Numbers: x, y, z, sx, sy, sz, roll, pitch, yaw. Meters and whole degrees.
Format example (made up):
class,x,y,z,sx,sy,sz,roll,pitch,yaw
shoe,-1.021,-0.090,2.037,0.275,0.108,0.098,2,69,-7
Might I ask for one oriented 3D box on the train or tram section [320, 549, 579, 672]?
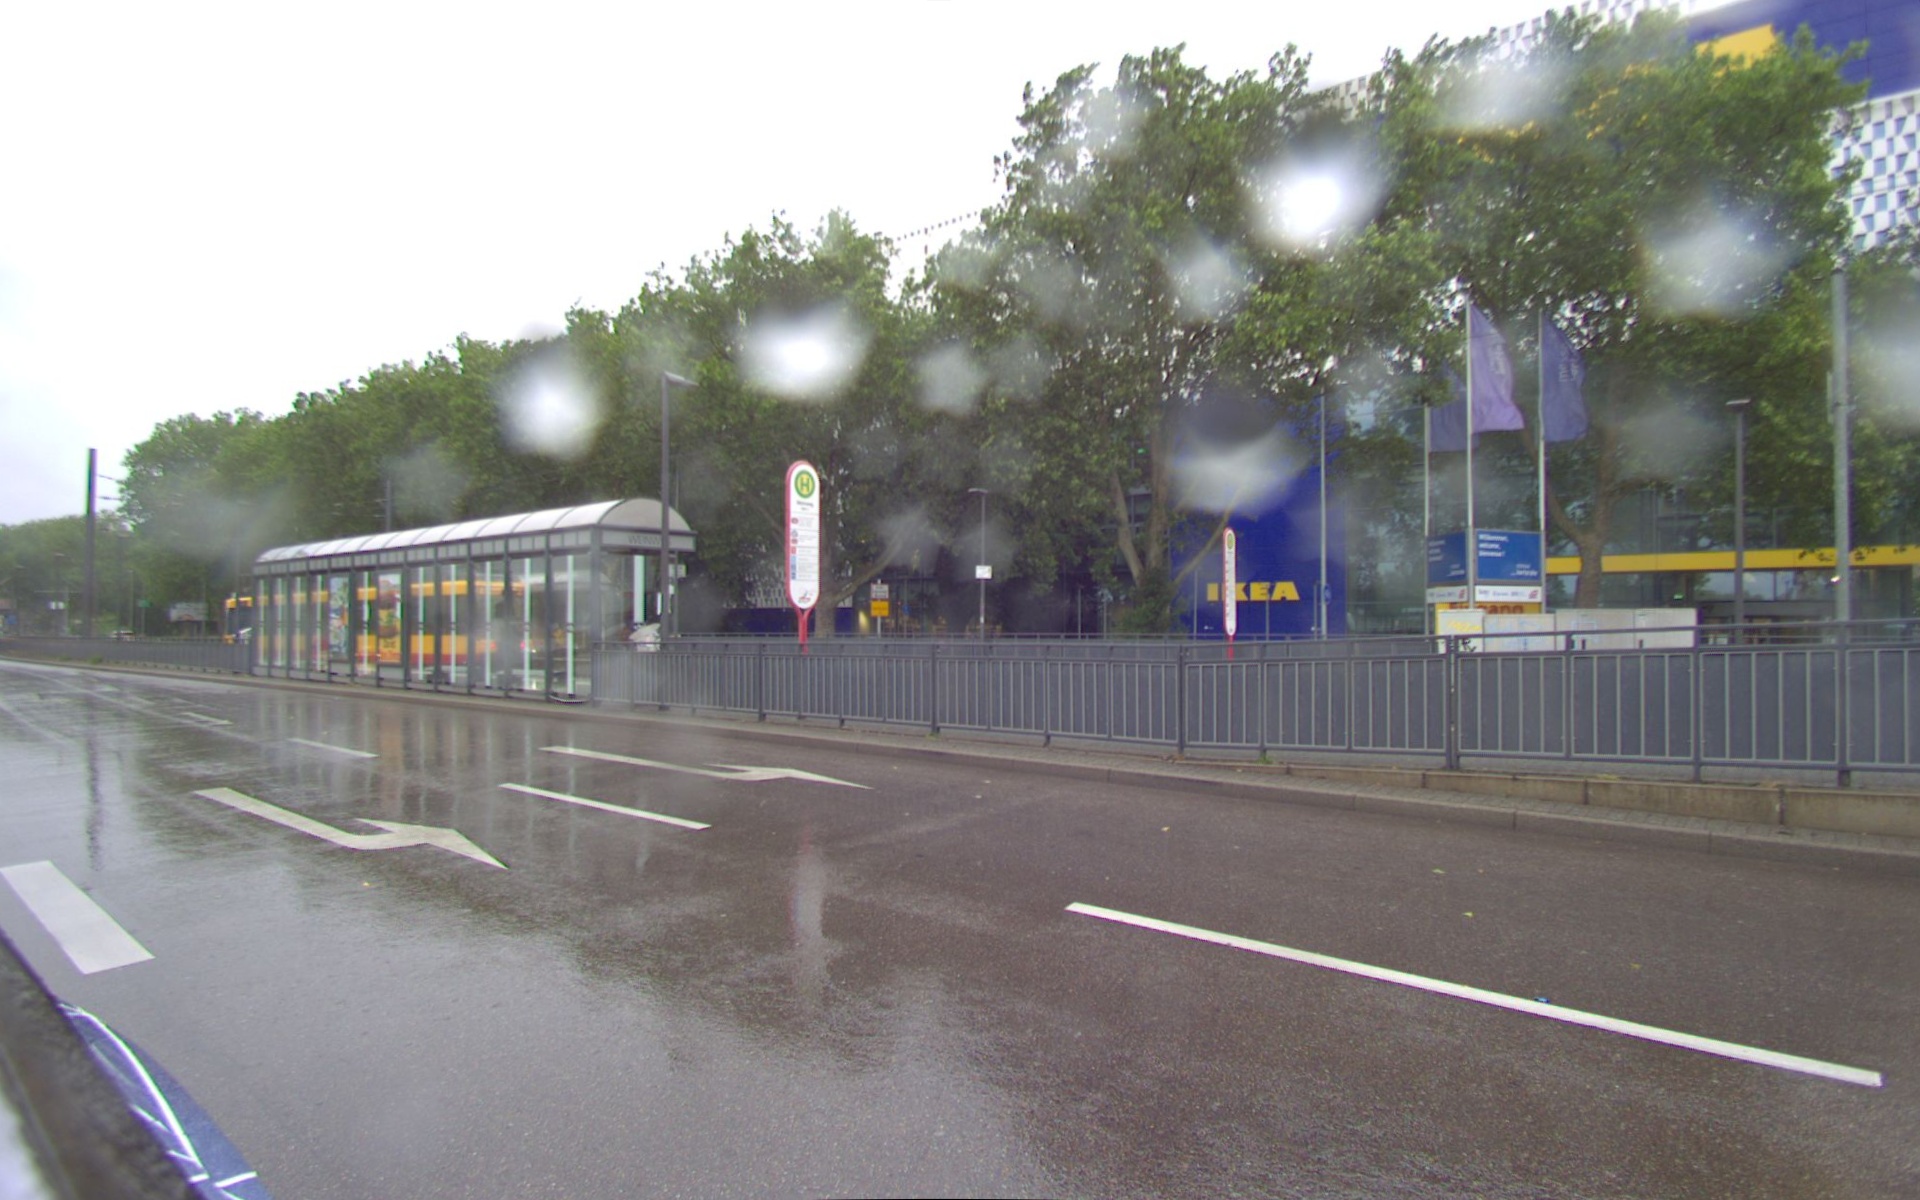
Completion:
class,x,y,z,sx,sy,sz,roll,pitch,yaw
train or tram section,-19.284,0.397,37.476,13.245,3.868,3.703,-1,0,40

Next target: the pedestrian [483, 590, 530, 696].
class,x,y,z,sx,sy,sz,roll,pitch,yaw
pedestrian,-8.315,0.768,18.537,0.646,1.885,0.774,-1,0,-33

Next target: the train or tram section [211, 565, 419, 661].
class,x,y,z,sx,sy,sz,roll,pitch,yaw
train or tram section,-30.223,0.611,46.857,15.560,3.827,3.703,-1,0,40

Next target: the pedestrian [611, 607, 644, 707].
class,x,y,z,sx,sy,sz,roll,pitch,yaw
pedestrian,-5.130,0.867,15.611,0.317,1.504,0.416,-2,1,-44
